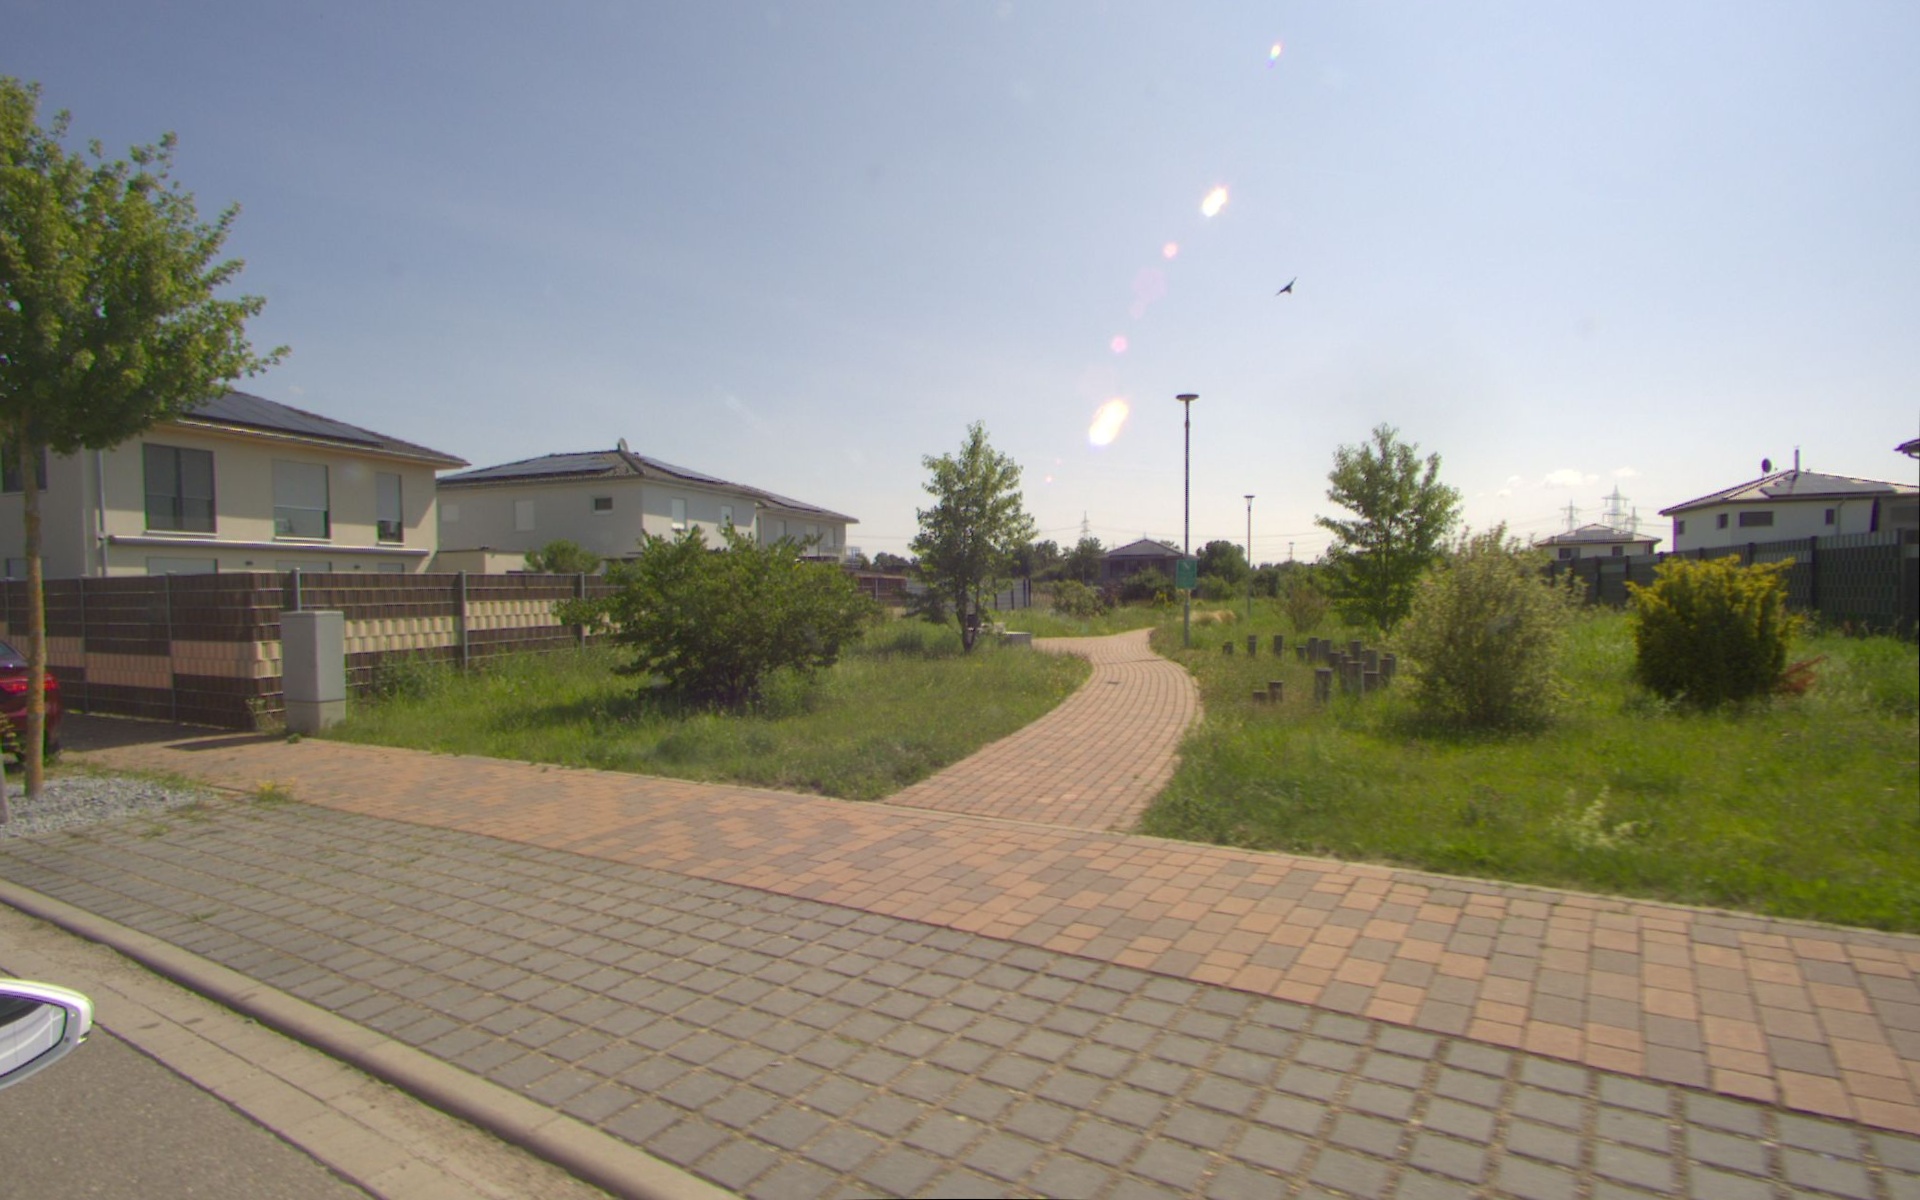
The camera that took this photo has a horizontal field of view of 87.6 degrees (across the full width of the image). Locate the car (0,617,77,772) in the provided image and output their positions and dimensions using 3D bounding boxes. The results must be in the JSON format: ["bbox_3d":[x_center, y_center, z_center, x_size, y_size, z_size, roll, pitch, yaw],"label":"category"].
[{"bbox_3d":[-10.740,0.877,9.839,4.507,1.381,1.752,0,1,30],"label":"car"}]
